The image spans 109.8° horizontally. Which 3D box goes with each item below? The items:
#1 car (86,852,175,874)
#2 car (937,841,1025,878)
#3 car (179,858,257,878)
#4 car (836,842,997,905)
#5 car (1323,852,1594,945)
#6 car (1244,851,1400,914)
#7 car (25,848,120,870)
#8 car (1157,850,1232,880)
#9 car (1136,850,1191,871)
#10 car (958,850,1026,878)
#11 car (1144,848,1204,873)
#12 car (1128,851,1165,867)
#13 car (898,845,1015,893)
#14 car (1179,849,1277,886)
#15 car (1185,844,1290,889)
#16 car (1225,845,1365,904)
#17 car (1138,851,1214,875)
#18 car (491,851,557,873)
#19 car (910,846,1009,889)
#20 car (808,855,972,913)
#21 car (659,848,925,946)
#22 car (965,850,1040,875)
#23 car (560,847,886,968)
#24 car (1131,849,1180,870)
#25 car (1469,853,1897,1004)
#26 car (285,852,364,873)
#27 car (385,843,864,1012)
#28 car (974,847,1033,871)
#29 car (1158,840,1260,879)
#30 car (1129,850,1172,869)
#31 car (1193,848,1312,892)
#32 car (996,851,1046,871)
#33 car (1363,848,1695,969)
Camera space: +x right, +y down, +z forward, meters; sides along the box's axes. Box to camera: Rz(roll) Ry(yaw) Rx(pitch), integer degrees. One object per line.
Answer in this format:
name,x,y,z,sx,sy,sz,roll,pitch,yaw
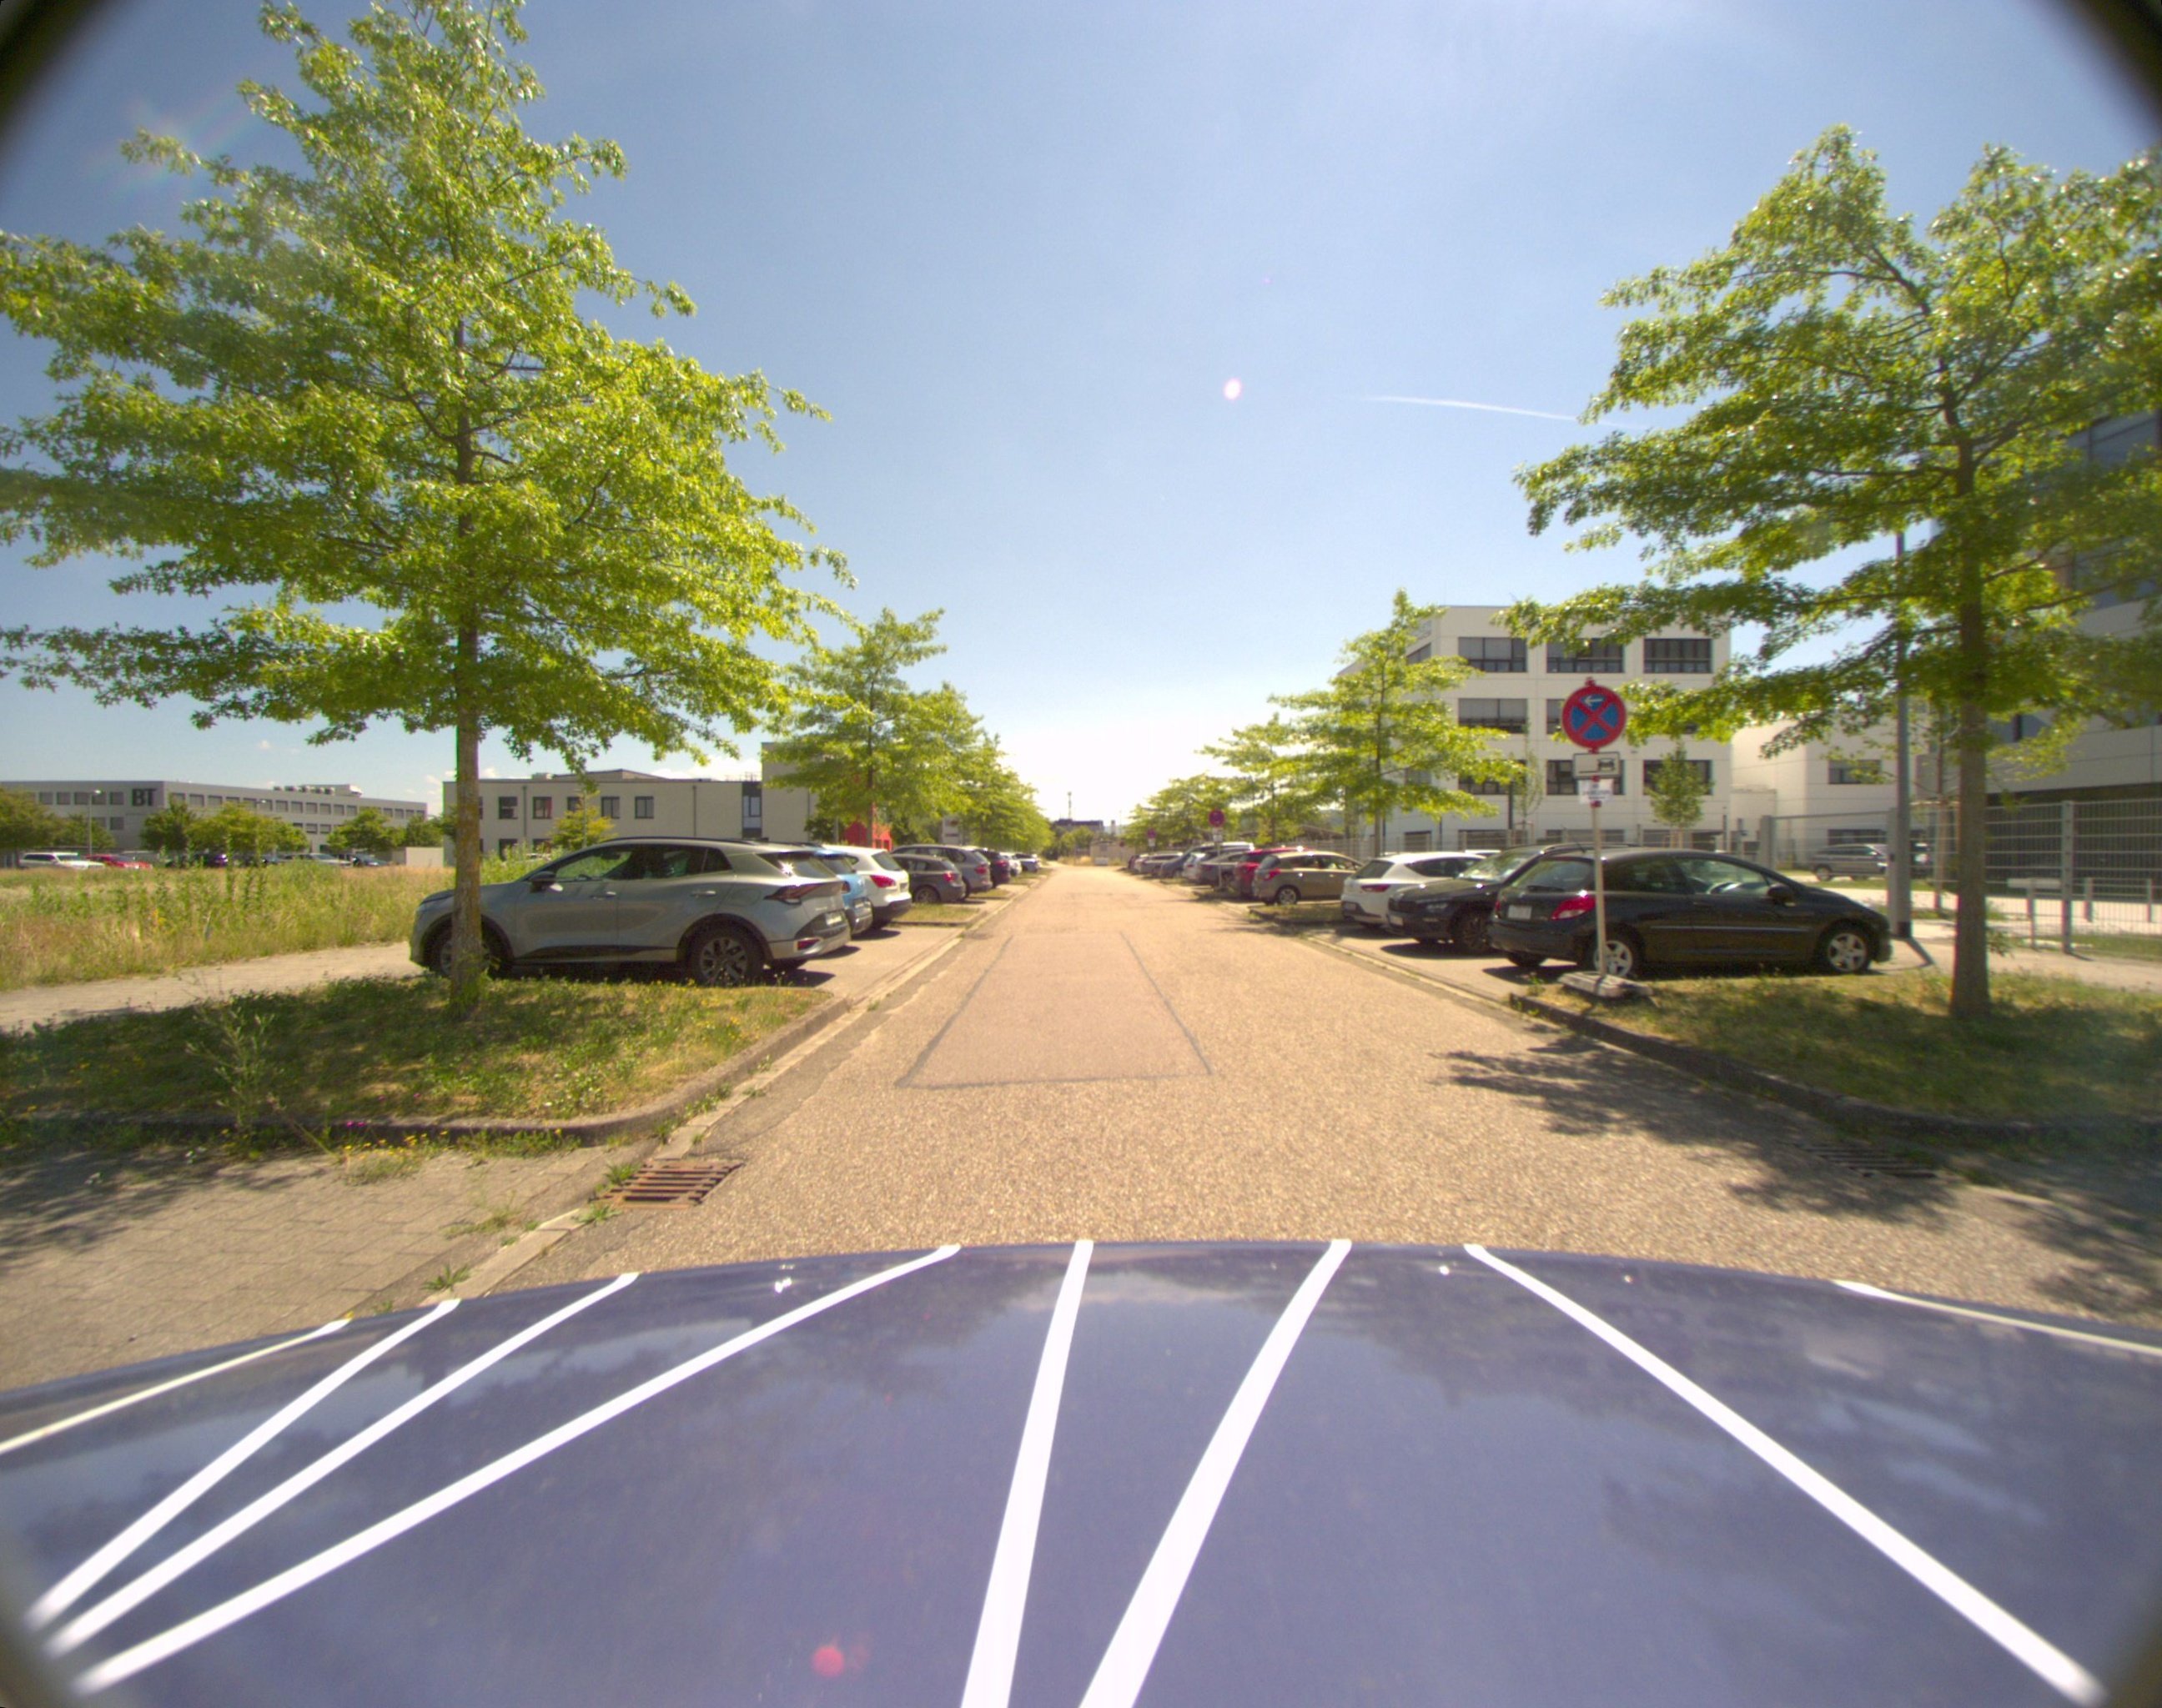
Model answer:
car,-66.090,0.637,52.895,3.997,1.501,1.719,0,0,0
car,-5.287,0.285,40.703,4.414,1.819,1.795,1,1,1
car,-66.241,1.067,58.333,3.997,1.501,1.719,0,0,0
car,-4.890,0.583,23.078,4.461,1.758,1.992,1,0,-2
car,6.859,0.762,14.086,4.087,1.416,1.873,-2,1,-4
car,6.519,0.744,20.808,3.667,1.500,1.730,-2,1,-4
car,-66.724,0.342,50.316,3.997,1.444,1.719,0,0,0
car,6.459,0.608,43.641,3.979,1.475,1.764,-3,0,0
car,6.645,0.559,61.539,4.182,1.504,1.807,-2,-1,1
car,-5.047,0.567,43.227,3.640,1.494,1.676,1,1,0
car,6.737,0.457,55.168,4.127,1.625,1.727,-2,0,1
car,6.491,0.521,75.743,3.514,1.433,1.727,-2,0,-1
car,-4.702,0.560,29.144,4.184,1.686,1.782,1,0,-1
car,6.667,0.607,34.634,4.048,1.452,1.604,-3,1,-3
car,6.610,0.518,32.324,3.999,1.669,1.776,-3,1,-5
car,6.503,0.611,23.362,3.747,1.612,1.816,-2,1,0
car,6.263,0.589,50.307,4.725,1.439,1.857,-2,0,-2
car,-38.801,0.534,52.988,3.331,1.501,1.719,0,0,0
car,-5.057,0.554,31.976,3.885,1.668,1.782,1,0,0
car,-5.035,0.769,20.489,3.933,1.402,1.908,0,2,-1
car,-5.075,0.727,13.792,4.079,1.598,1.901,1,1,0
car,-5.098,0.535,49.748,4.730,1.552,1.913,1,0,-4
car,-5.149,0.732,11.364,3.997,1.634,1.838,1,1,-1
car,6.283,0.469,64.299,3.849,1.582,1.727,-2,0,-3
car,6.797,0.784,8.869,3.635,1.427,1.726,-2,1,-1
car,-55.466,0.617,55.776,3.997,1.501,1.719,0,0,-2
car,-4.891,0.745,8.626,4.290,1.634,1.850,1,1,0
car,-5.548,0.375,54.859,4.057,1.615,1.693,1,0,0
car,6.788,0.310,40.735,5.082,1.881,1.997,-2,0,1
car,6.464,0.481,70.821,3.915,1.582,1.728,-2,0,3
car,6.605,0.596,29.522,4.204,1.471,1.712,-3,1,0
car,-4.864,0.588,61.871,3.843,1.544,1.780,0,0,4
car,6.568,0.748,11.457,3.938,1.512,1.784,-2,1,-1
